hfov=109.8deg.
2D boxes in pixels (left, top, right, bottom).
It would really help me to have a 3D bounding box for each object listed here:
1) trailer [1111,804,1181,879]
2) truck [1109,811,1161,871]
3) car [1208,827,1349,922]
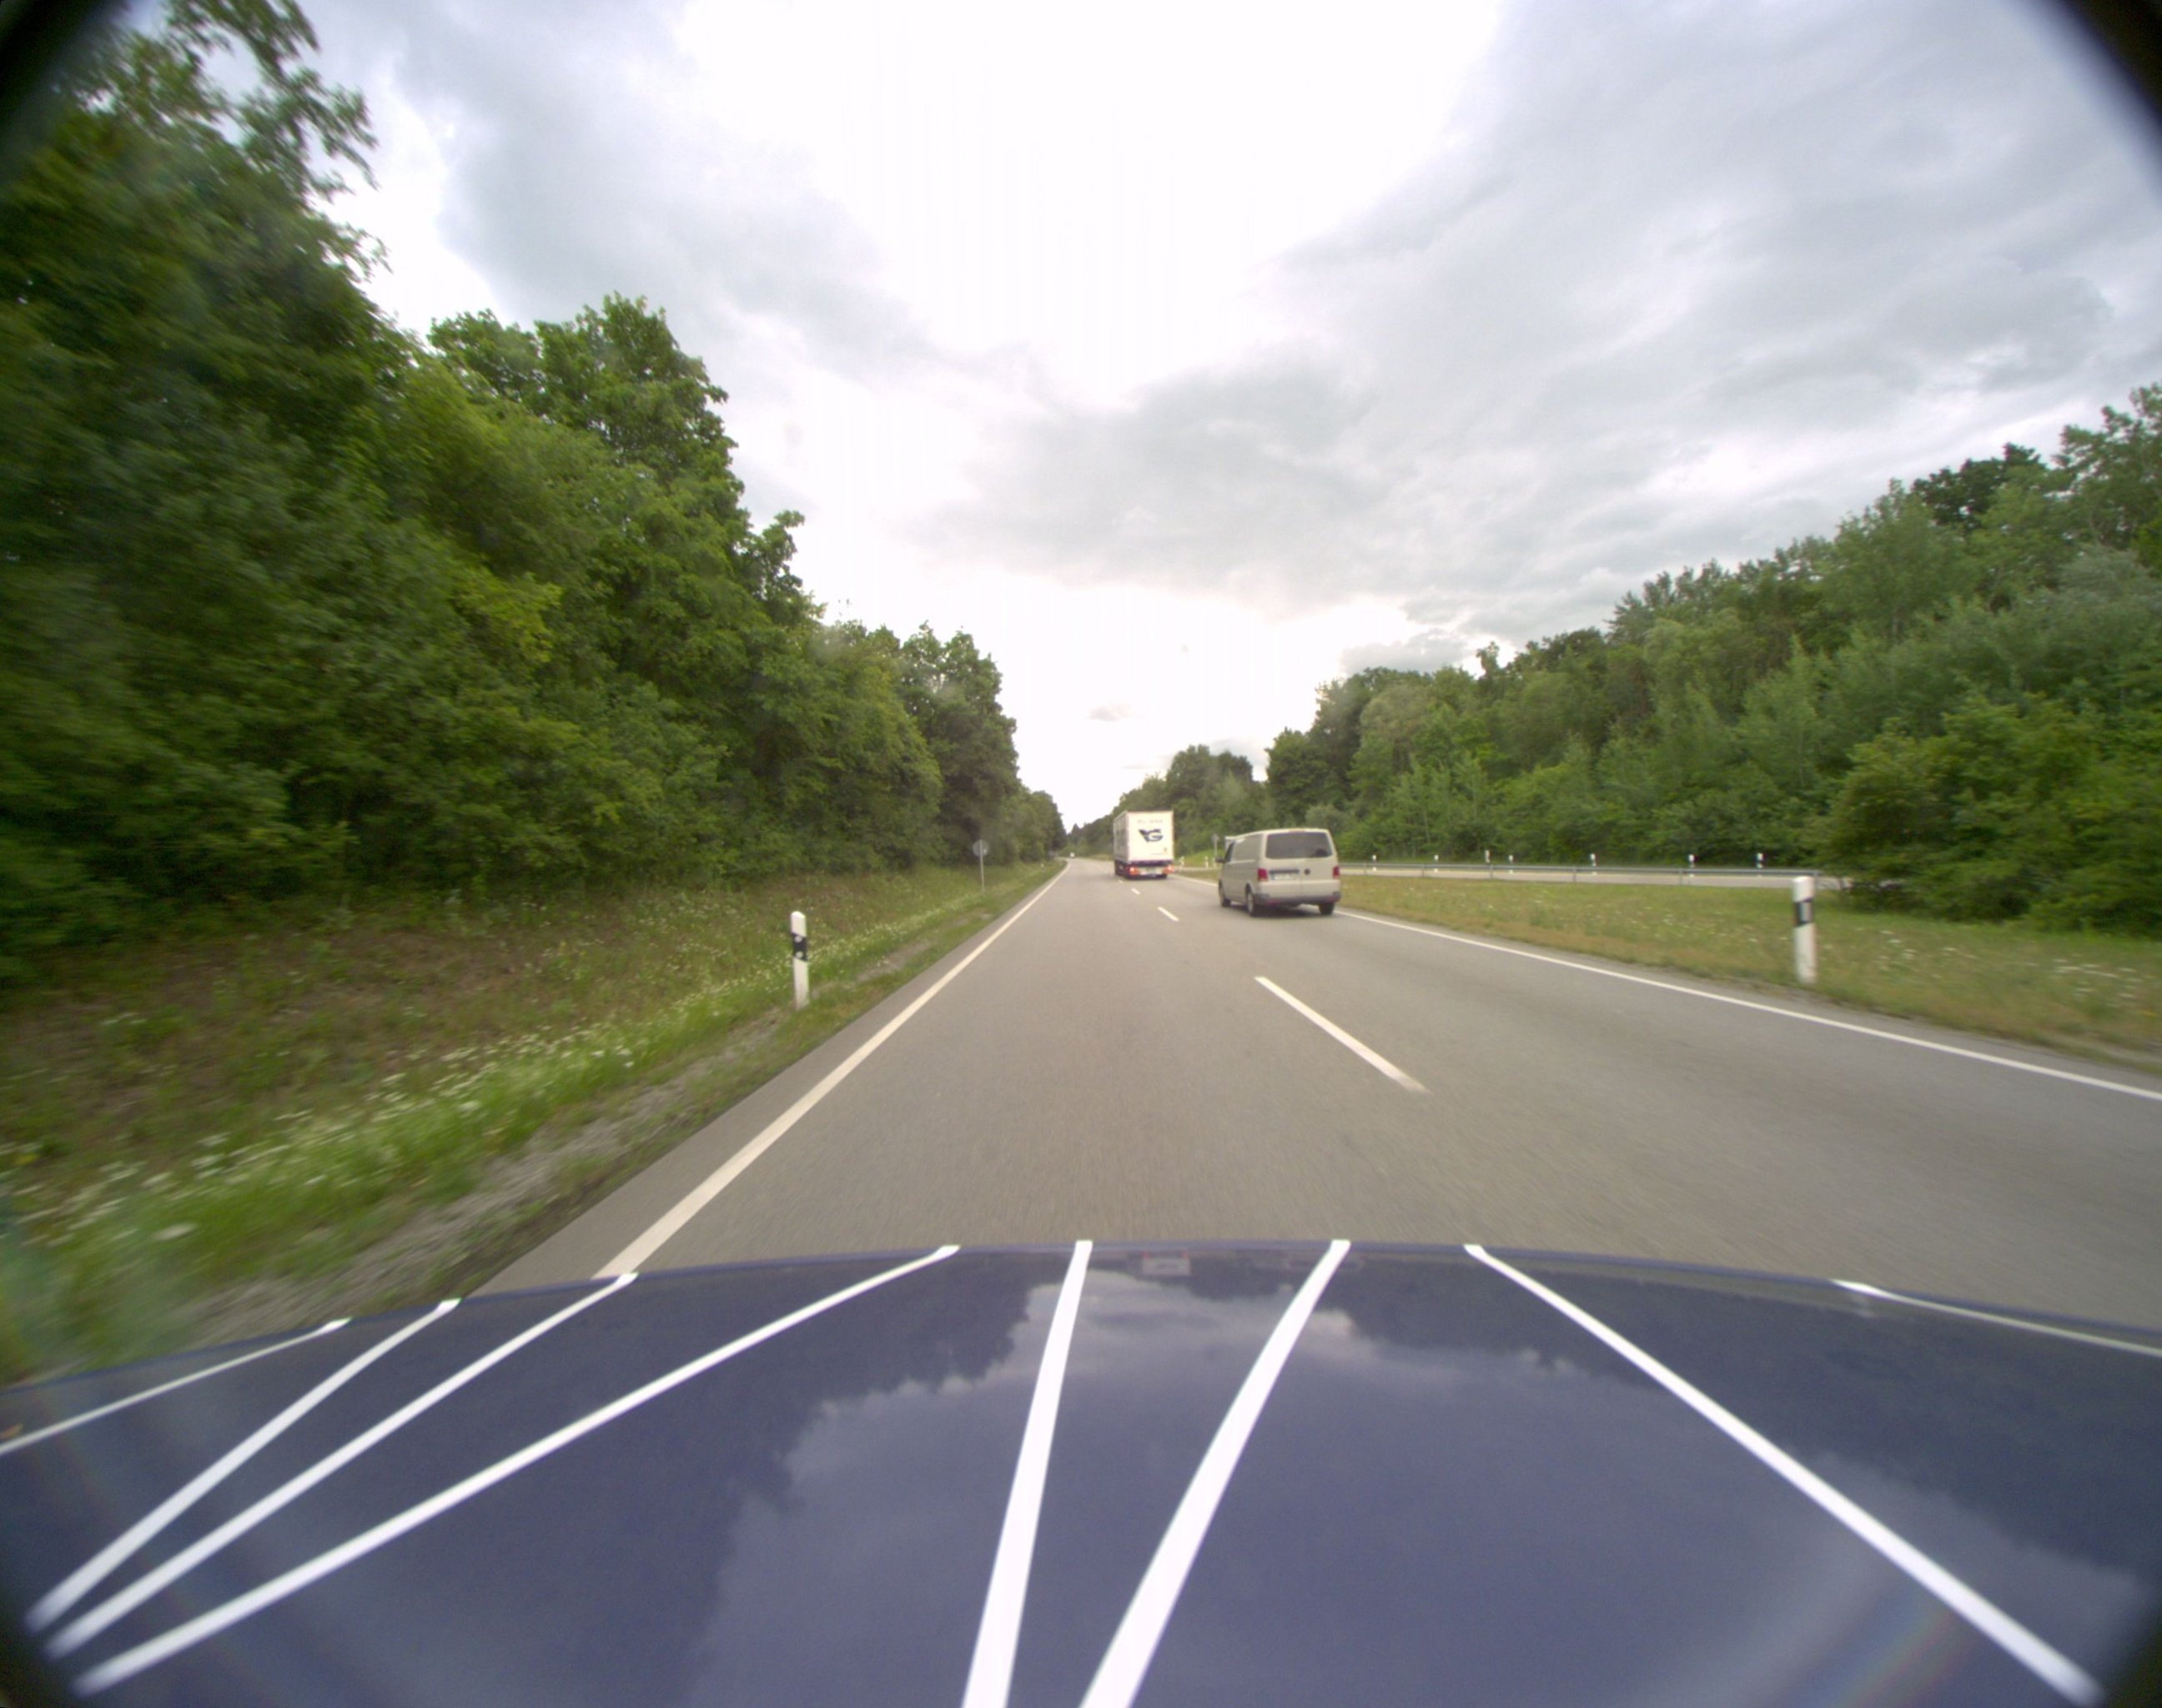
[{"bbox_3d":[3.887,-0.763,49.238,3.211,4.043,14.270,-2,1,0],"label":"trailer"},{"bbox_3d":[3.898,-0.909,57.296,3.198,4.039,9.574,-2,1,0],"label":"truck"},{"bbox_3d":[4.663,0.412,18.971,1.998,1.929,5.811,-2,1,1],"label":"car"}]
